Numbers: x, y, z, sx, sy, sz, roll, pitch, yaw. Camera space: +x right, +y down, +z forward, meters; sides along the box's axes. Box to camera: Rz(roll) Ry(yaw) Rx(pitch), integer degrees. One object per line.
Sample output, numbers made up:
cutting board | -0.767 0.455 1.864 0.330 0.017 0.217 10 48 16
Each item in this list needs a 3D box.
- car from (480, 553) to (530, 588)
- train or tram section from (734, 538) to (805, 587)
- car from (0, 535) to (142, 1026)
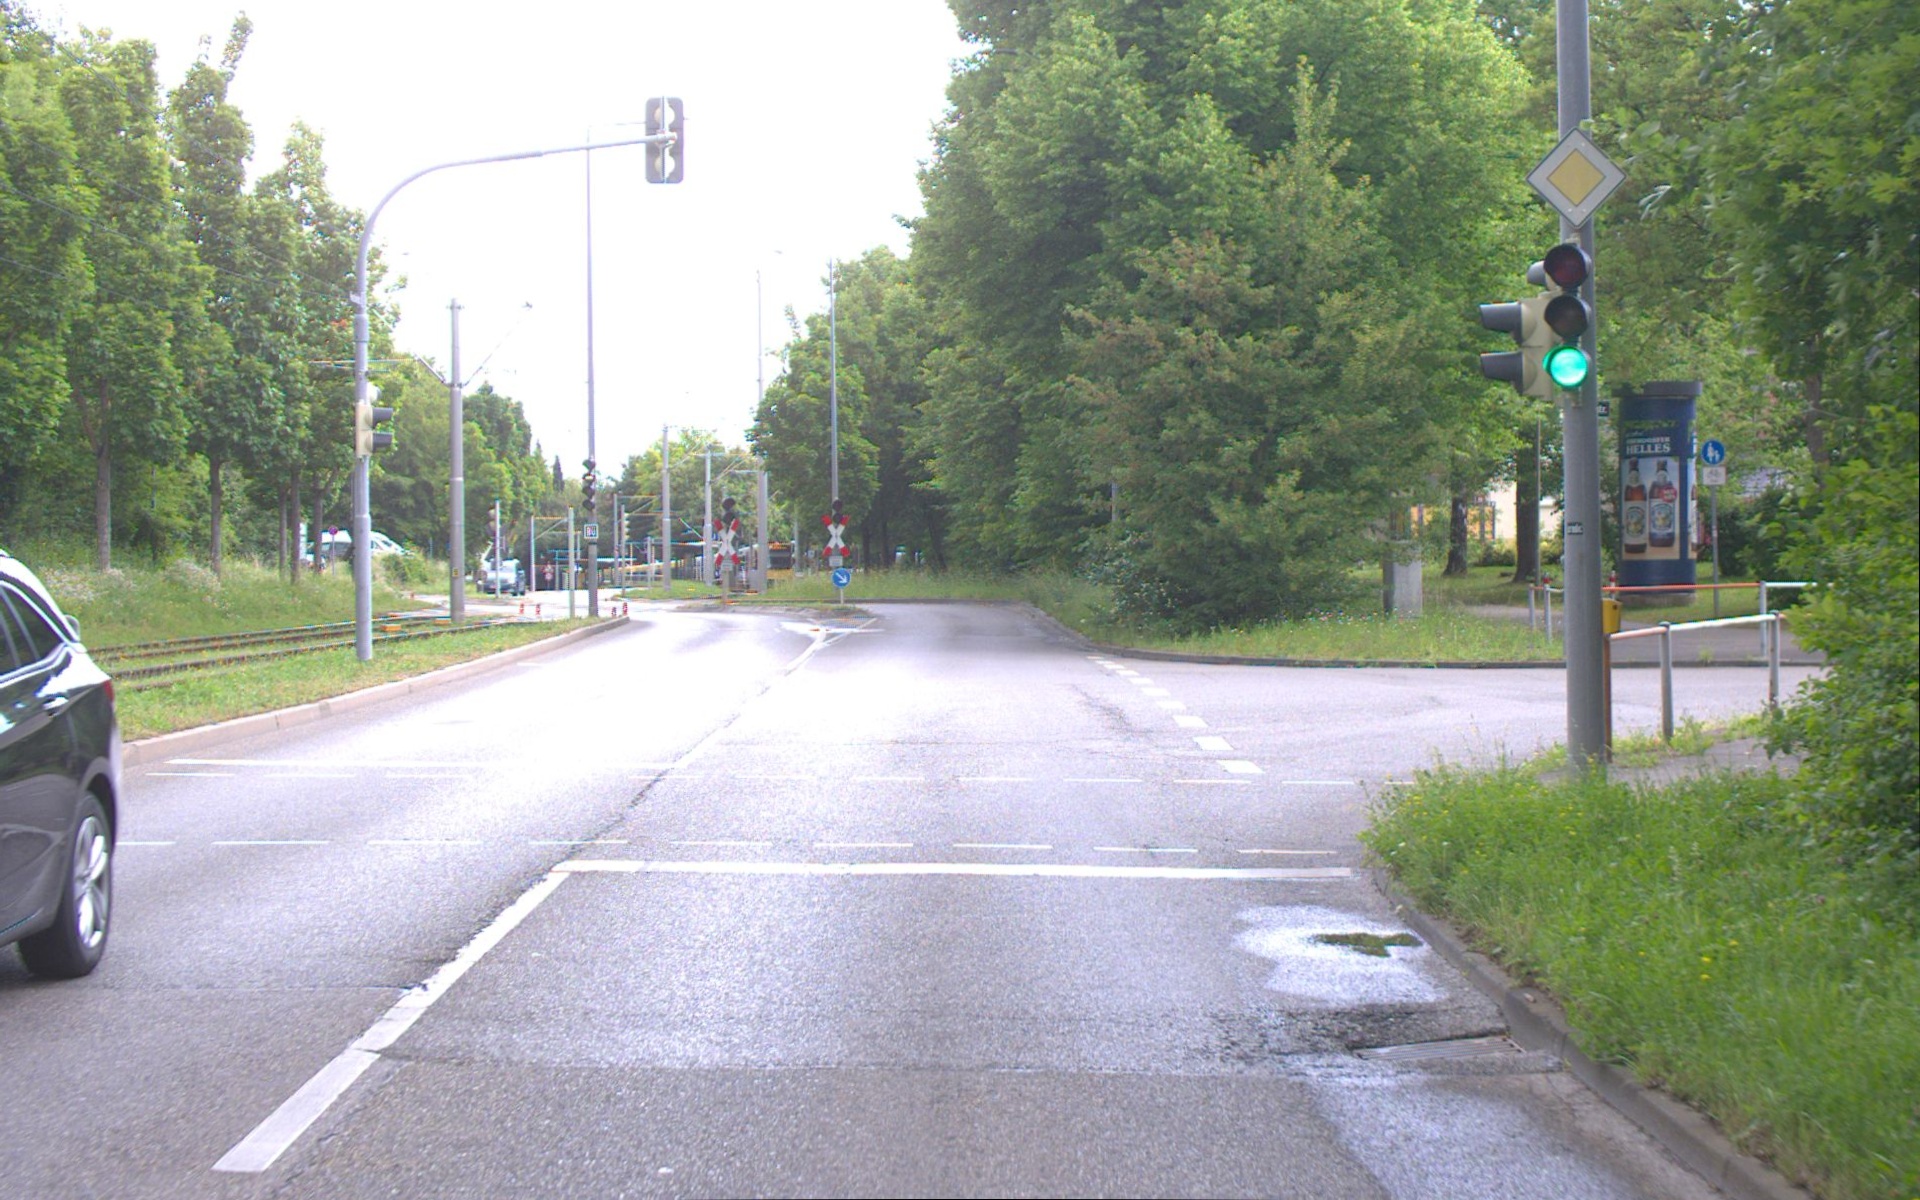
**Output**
car | -20.461 -1.342 154.844 1.867 1.515 4.239 0 1 -3
train or tram section | -14.152 -2.721 252.300 3.007 3.299 34.718 0 0 -7
car | -3.810 0.550 10.062 1.850 1.465 4.256 0 1 0
